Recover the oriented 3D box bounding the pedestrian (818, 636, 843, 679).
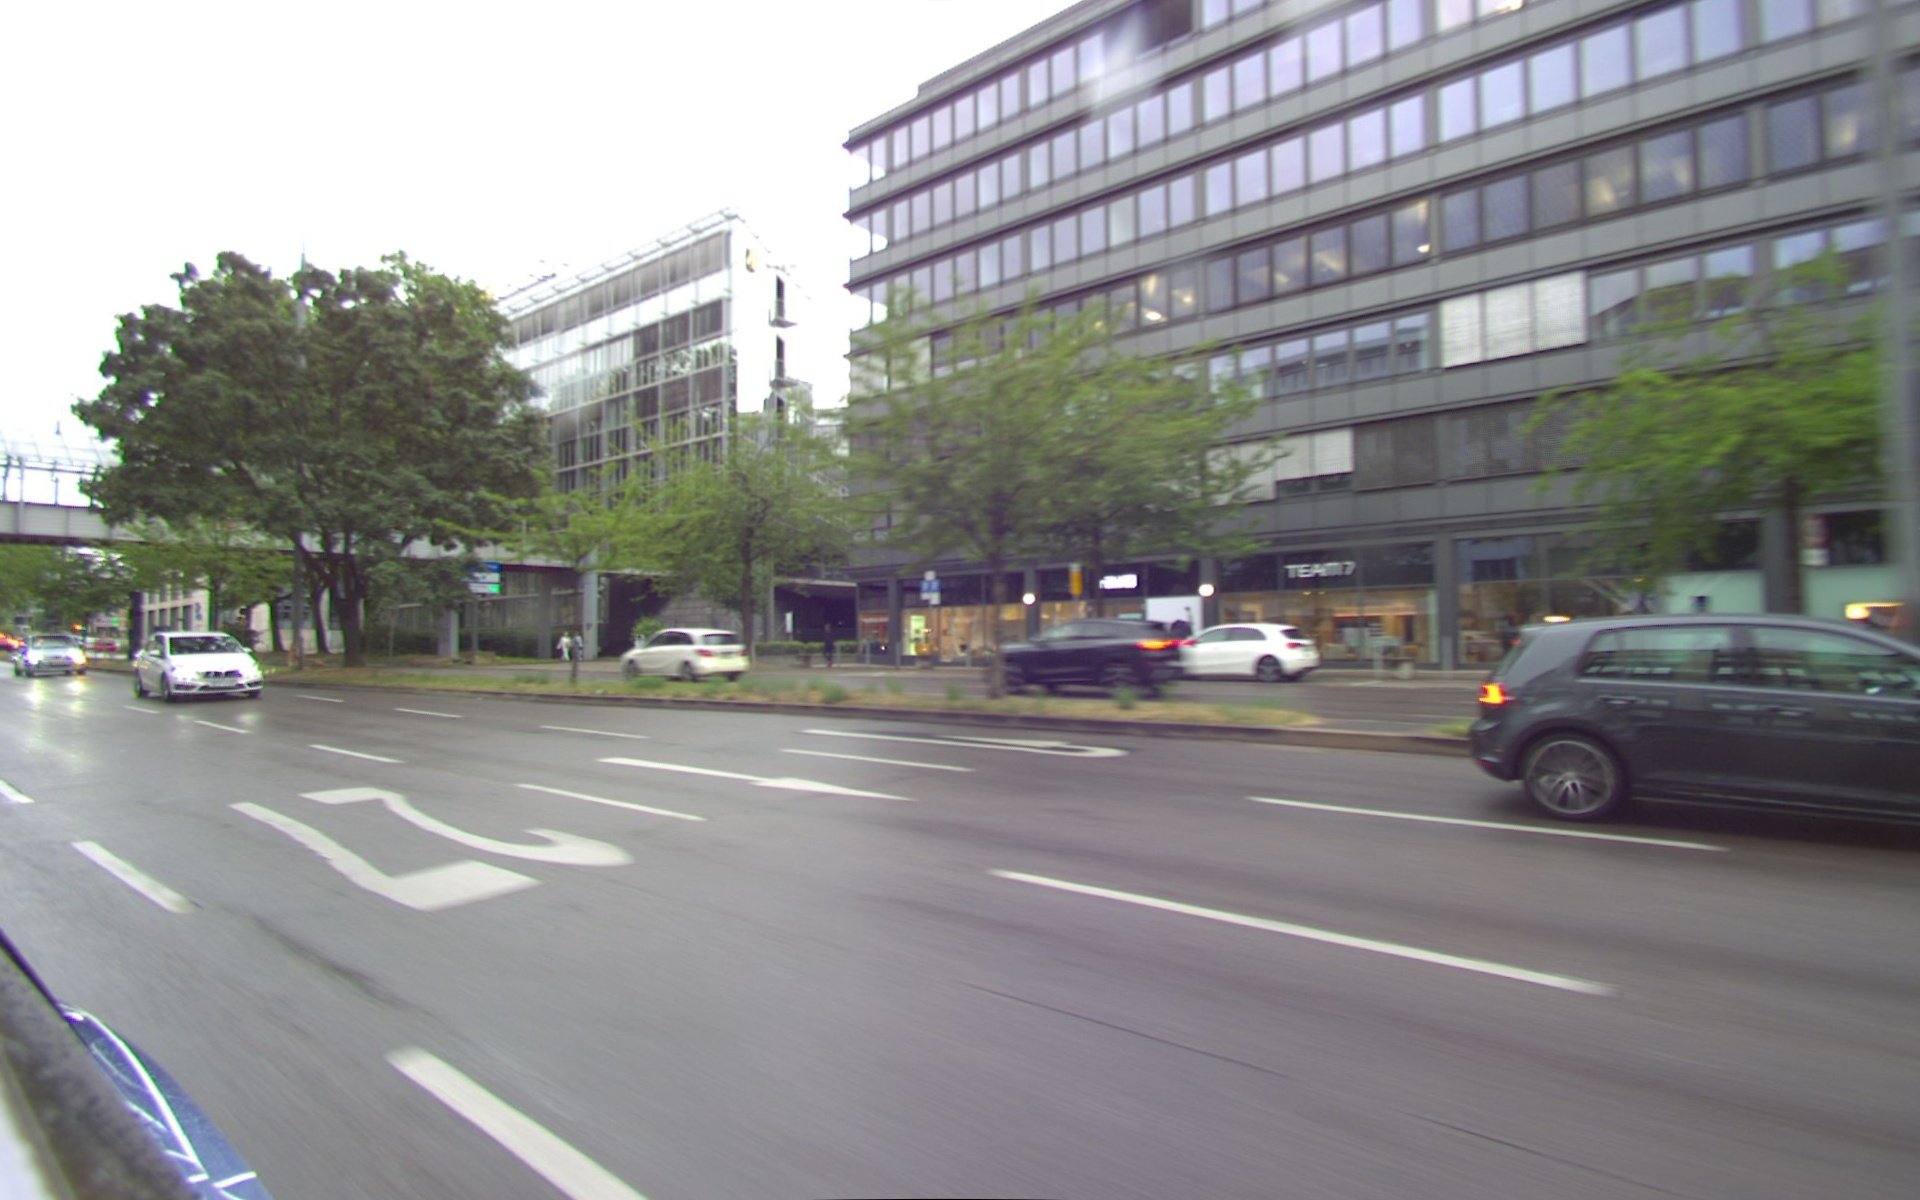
[{"bbox_3d":[-5.565,2.457,43.448,0.761,1.830,0.722,-3,-2,28],"label":"pedestrian"}]

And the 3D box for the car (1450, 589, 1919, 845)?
[{"bbox_3d":[5.965,0.684,6.588,4.683,1.462,1.821,-3,-3,39],"label":"car"}]

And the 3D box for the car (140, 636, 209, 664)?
[{"bbox_3d":[-38.598,2.436,49.705,4.071,1.320,1.711,-2,-2,38],"label":"car"}]

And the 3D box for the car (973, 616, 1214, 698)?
[{"bbox_3d":[2.668,1.129,20.983,4.712,1.528,1.791,-2,-2,39],"label":"car"}]

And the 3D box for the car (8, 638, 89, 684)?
[{"bbox_3d":[-33.766,2.203,37.477,3.689,1.585,1.765,-2,-2,41],"label":"car"}]

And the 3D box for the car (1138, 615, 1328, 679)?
[{"bbox_3d":[6.853,1.160,25.630,4.304,1.455,1.791,-2,-1,38],"label":"car"}]

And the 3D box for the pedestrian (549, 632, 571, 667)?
[{"bbox_3d":[-21.217,2.613,53.644,0.924,1.812,0.720,-1,-1,41],"label":"pedestrian"}]

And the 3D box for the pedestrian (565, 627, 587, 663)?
[{"bbox_3d":[-20.600,2.408,54.297,0.924,1.846,0.720,-1,-1,41],"label":"pedestrian"}]

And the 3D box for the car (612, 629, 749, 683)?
[{"bbox_3d":[-8.242,1.605,29.697,4.307,1.445,1.710,-2,-2,39],"label":"car"}]

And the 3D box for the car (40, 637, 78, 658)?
[{"bbox_3d":[-76.116,4.008,85.510,3.993,1.610,1.652,-1,-1,37],"label":"car"}]

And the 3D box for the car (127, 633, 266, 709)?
[{"bbox_3d":[-17.887,1.582,23.646,4.285,1.585,1.765,-2,-2,41],"label":"car"}]

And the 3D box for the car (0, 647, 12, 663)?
[{"bbox_3d":[-88.472,5.042,92.709,4.071,1.320,1.711,-2,-2,38],"label":"car"}]
